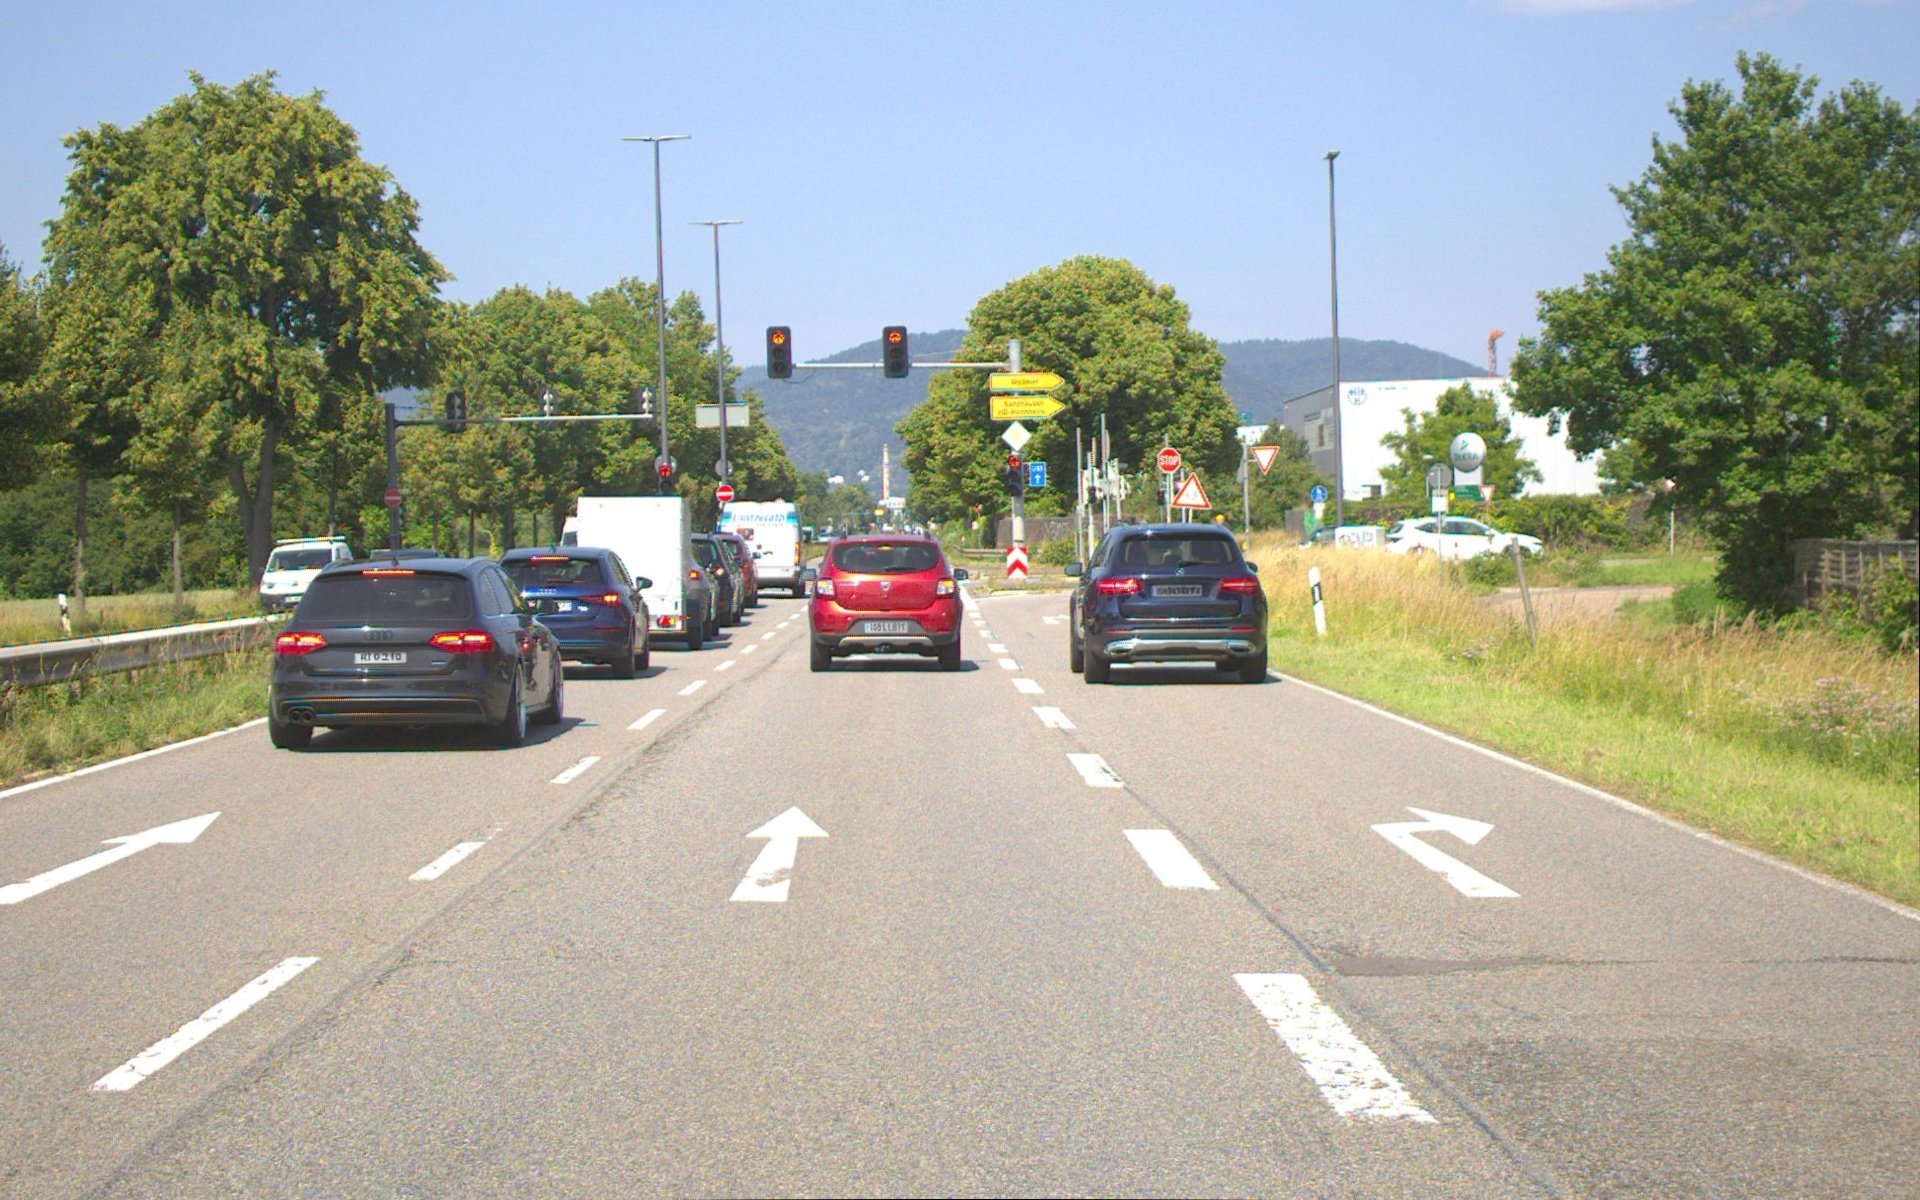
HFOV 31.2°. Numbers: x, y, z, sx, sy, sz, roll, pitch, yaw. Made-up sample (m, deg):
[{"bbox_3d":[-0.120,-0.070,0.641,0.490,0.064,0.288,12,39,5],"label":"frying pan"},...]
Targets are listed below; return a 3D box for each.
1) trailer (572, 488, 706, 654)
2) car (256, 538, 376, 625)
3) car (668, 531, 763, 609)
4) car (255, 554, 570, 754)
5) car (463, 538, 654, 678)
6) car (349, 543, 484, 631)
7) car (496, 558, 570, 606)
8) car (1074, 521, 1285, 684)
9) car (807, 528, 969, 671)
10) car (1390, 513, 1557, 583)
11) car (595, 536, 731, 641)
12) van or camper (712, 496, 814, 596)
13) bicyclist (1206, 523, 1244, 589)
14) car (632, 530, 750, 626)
[{"bbox_3d":[-4.410,-0.425,47.676,1.500,2.166,4.174,-1,1,-1],"label":"trailer"},{"bbox_3d":[-15.213,-0.470,81.418,1.993,1.945,4.831,-1,1,-1],"label":"car"},{"bbox_3d":[-5.135,-0.654,72.669,1.724,1.594,3.956,-1,1,0],"label":"car"},{"bbox_3d":[-4.095,0.347,26.350,1.740,1.376,4.455,0,1,-1],"label":"car"},{"bbox_3d":[-4.400,0.044,38.167,1.717,1.460,4.030,0,1,-1],"label":"car"},{"bbox_3d":[-10.607,-0.286,67.387,1.993,1.597,4.481,-1,1,-1],"label":"car"},{"bbox_3d":[-13.705,-0.599,110.486,1.879,1.449,4.505,-1,1,-1],"label":"car"},{"bbox_3d":[2.251,-0.020,36.254,1.993,1.611,4.339,0,1,1],"label":"car"},{"bbox_3d":[-0.789,-0.035,39.787,1.749,1.570,3.676,0,1,1],"label":"car"},{"bbox_3d":[14.627,-1.483,98.100,4.490,1.861,1.885,-1,1,1],"label":"car"},{"bbox_3d":[-4.440,-0.212,51.881,1.745,1.498,4.363,-1,1,-1],"label":"car"},{"bbox_3d":[-4.734,-1.319,83.290,2.179,2.295,4.827,-1,1,0],"label":"van or camper"},{"bbox_3d":[7.180,-1.193,93.047,0.802,1.765,0.809,-2,1,-10],"label":"bicyclist"},{"bbox_3d":[-4.587,-0.401,59.043,1.723,1.570,3.893,-1,1,0],"label":"car"}]
